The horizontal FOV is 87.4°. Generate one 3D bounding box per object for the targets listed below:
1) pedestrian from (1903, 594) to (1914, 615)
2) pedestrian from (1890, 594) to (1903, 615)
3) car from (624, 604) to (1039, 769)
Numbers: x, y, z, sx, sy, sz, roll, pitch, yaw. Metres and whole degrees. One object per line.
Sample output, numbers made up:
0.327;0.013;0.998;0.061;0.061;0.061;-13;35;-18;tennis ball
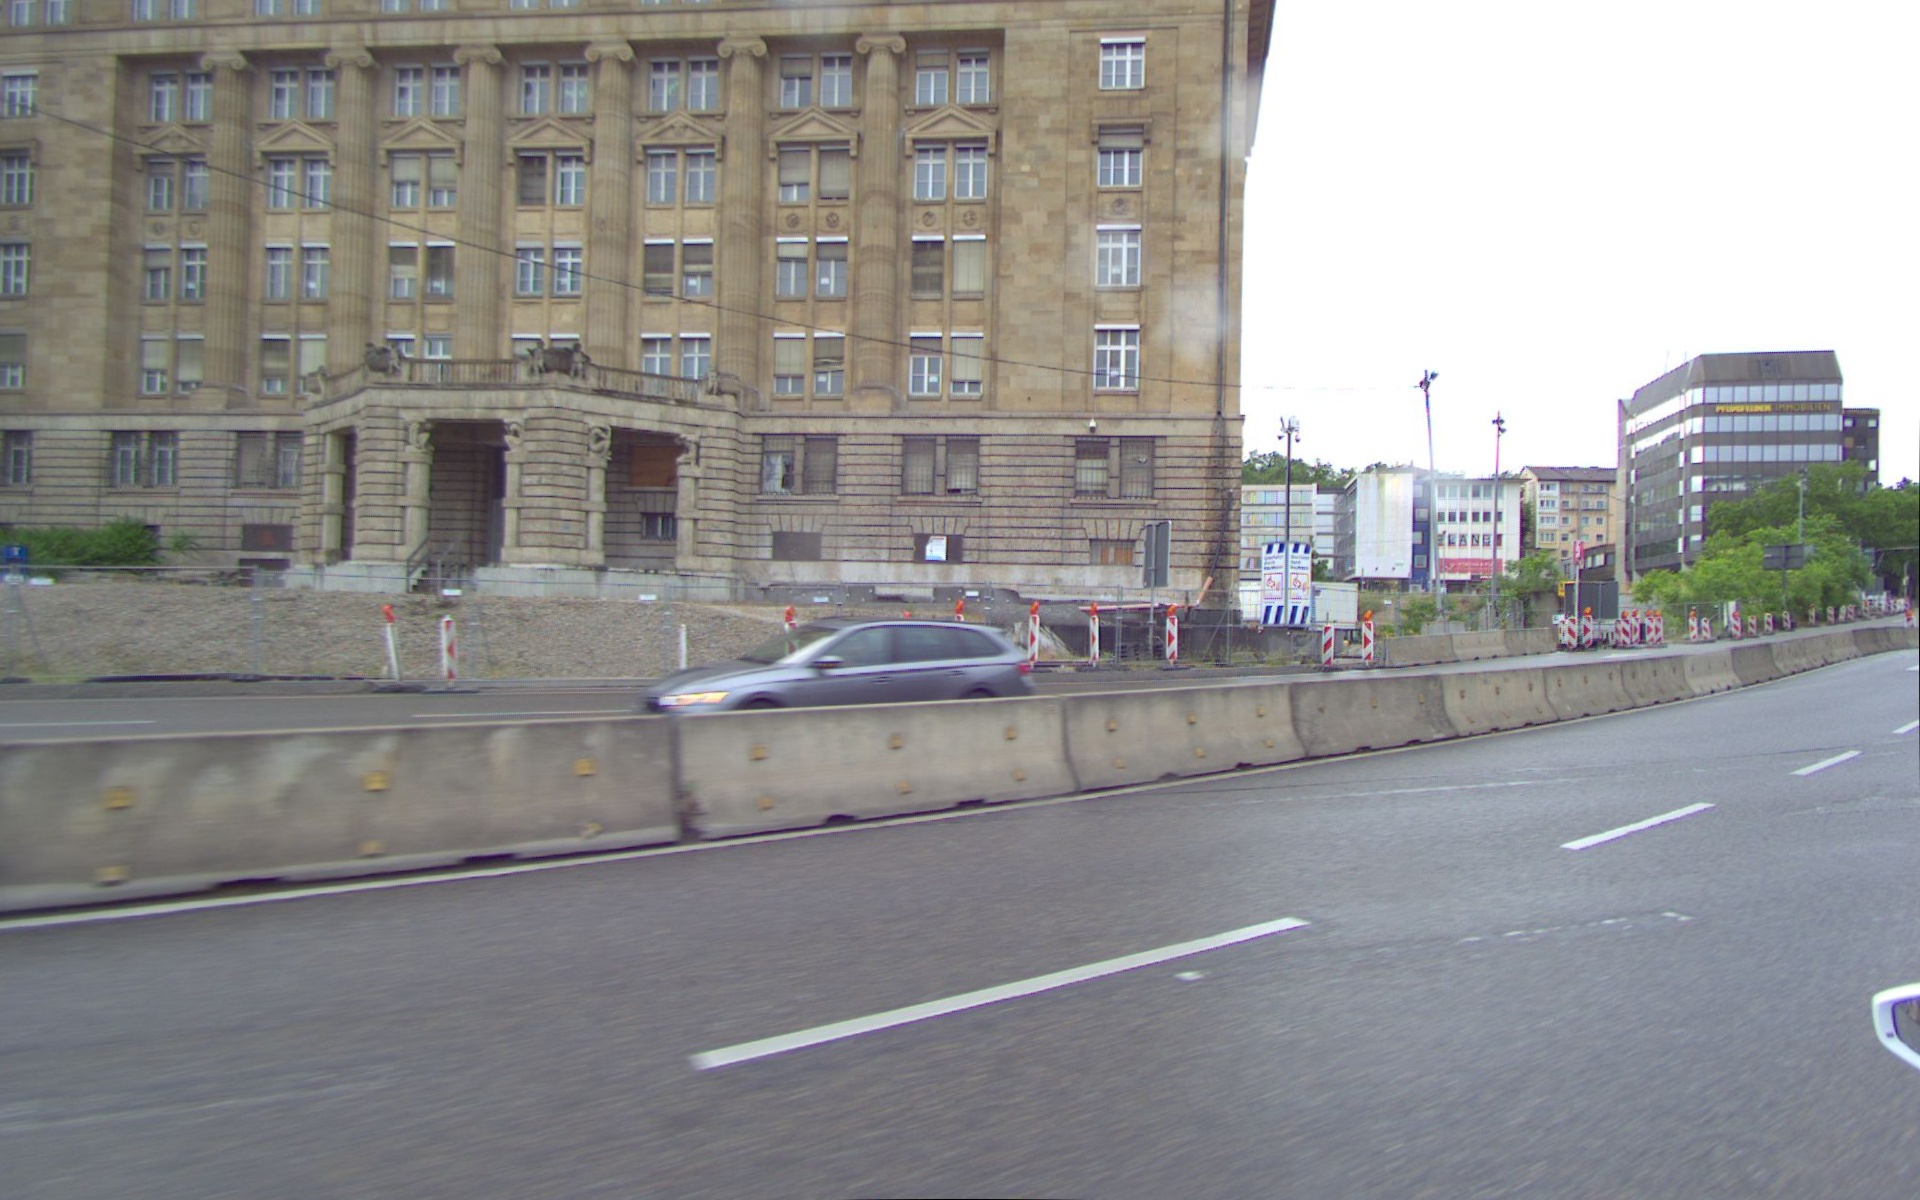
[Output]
85.908;0.420;90.965;0.769;1.926;0.667;2;-1;-37;pedestrian
85.432;0.414;91.665;0.735;1.948;0.755;2;-1;-37;pedestrian
-1.337;0.880;11.336;4.343;1.541;1.755;2;-2;-35;car
